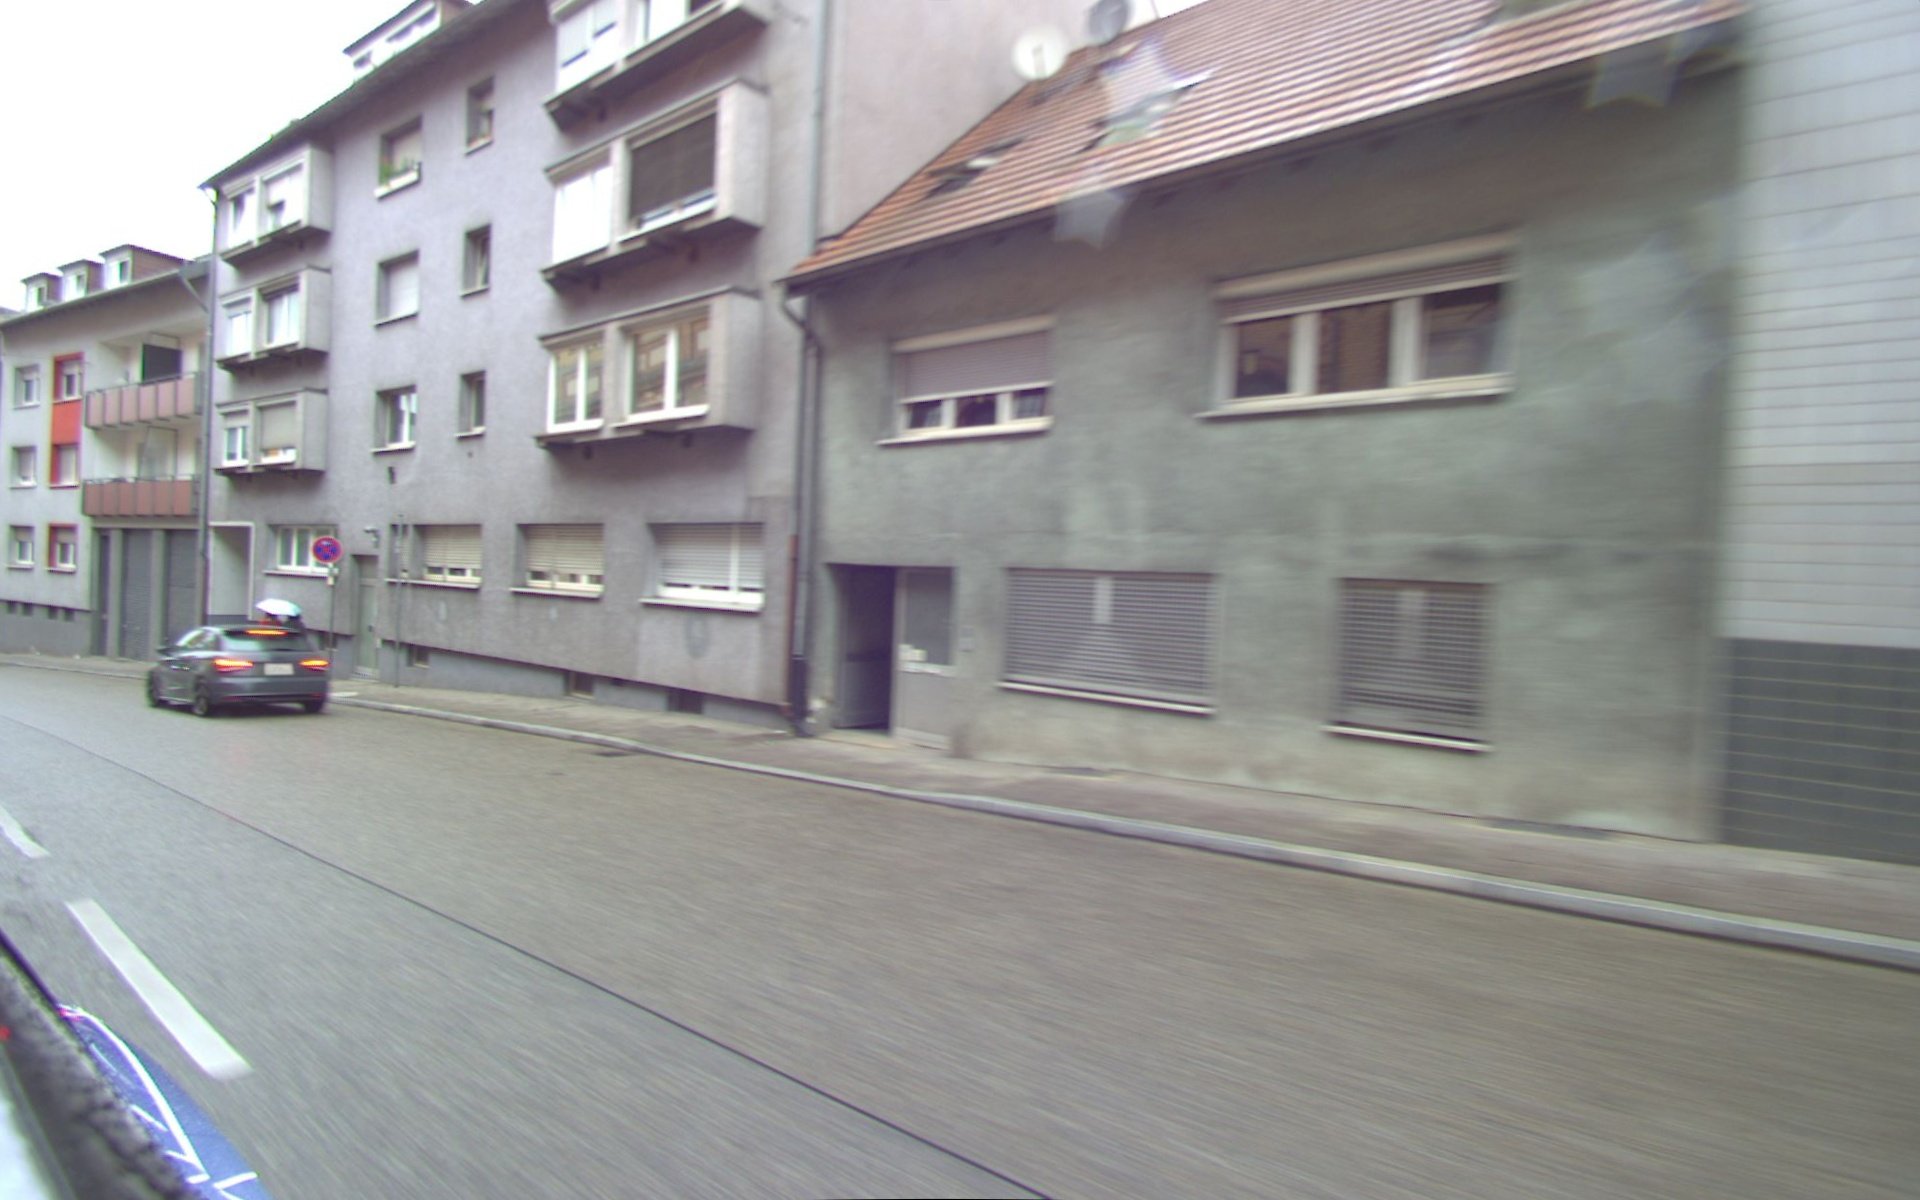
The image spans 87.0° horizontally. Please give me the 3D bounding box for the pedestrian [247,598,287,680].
[{"bbox_3d":[-15.338,0.866,22.402,0.621,1.789,0.518,-2,-3,36],"label":"pedestrian"}]

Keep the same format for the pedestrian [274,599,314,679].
[{"bbox_3d":[-15.031,0.878,22.842,0.621,1.789,0.518,-2,-3,36],"label":"pedestrian"}]

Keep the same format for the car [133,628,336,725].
[{"bbox_3d":[-11.784,1.179,16.372,3.846,1.389,1.628,-1,-4,39],"label":"car"}]
